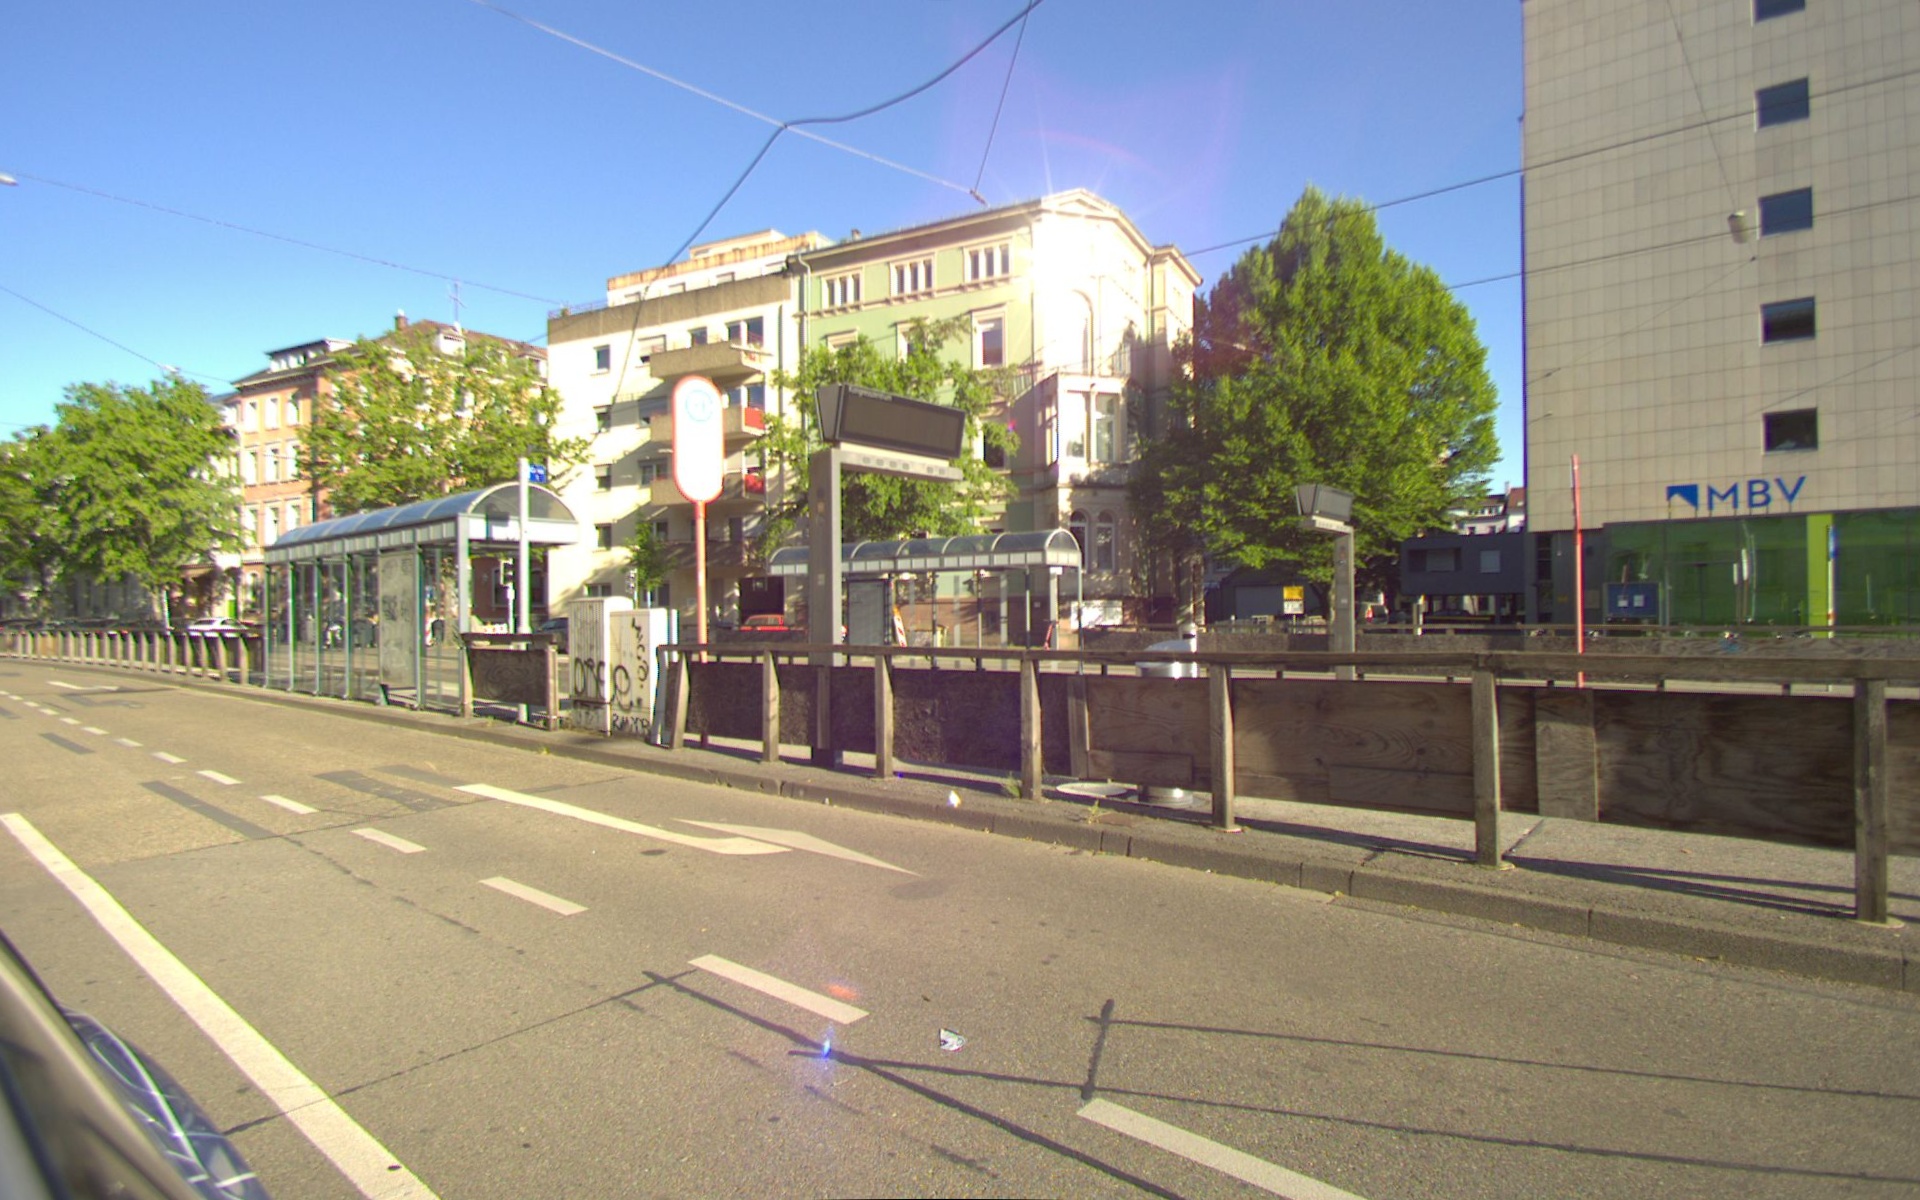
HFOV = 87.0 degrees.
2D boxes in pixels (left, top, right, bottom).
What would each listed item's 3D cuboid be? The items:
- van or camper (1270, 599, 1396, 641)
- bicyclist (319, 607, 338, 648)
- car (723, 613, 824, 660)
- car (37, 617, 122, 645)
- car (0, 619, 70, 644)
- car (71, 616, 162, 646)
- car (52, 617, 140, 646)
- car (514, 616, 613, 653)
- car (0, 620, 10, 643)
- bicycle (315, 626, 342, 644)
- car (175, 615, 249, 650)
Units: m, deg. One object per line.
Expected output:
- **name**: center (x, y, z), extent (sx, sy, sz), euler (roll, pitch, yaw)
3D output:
- **van or camper**: center (13.943, 0.723, 37.888), extent (3.998, 1.417, 1.943), euler (2, 0, 41)
- **bicyclist**: center (-28.084, 1.227, 45.005), extent (0.770, 1.774, 0.529), euler (-3, -2, 41)
- **car**: center (-6.561, 1.275, 36.021), extent (1.763, 1.547, 3.763), euler (-1, -2, 23)
- **car**: center (-55.874, 1.935, 64.262), extent (2.001, 1.697, 3.942), euler (-2, -2, 44)
- **car**: center (-61.184, 2.072, 66.570), extent (3.811, 1.604, 2.001), euler (1, -2, -45)
- **car**: center (-49.547, 1.817, 59.464), extent (2.001, 1.697, 3.942), euler (-2, -2, 44)
- **car**: center (-52.866, 1.885, 61.935), extent (2.001, 1.697, 3.942), euler (-2, -2, 44)
- **car**: center (-15.564, 1.344, 39.720), extent (3.498, 1.406, 1.602), euler (-1, -2, 22)
- **car**: center (-69.676, 2.220, 71.410), extent (2.001, 1.604, 3.812), euler (-2, -2, 44)
- **bicycle**: center (-28.091, 1.569, 45.006), extent (1.852, 0.793, 0.529), euler (-3, -2, 41)
- **car**: center (-41.090, 1.726, 55.686), extent (1.966, 1.736, 4.012), euler (0, 1, -15)
